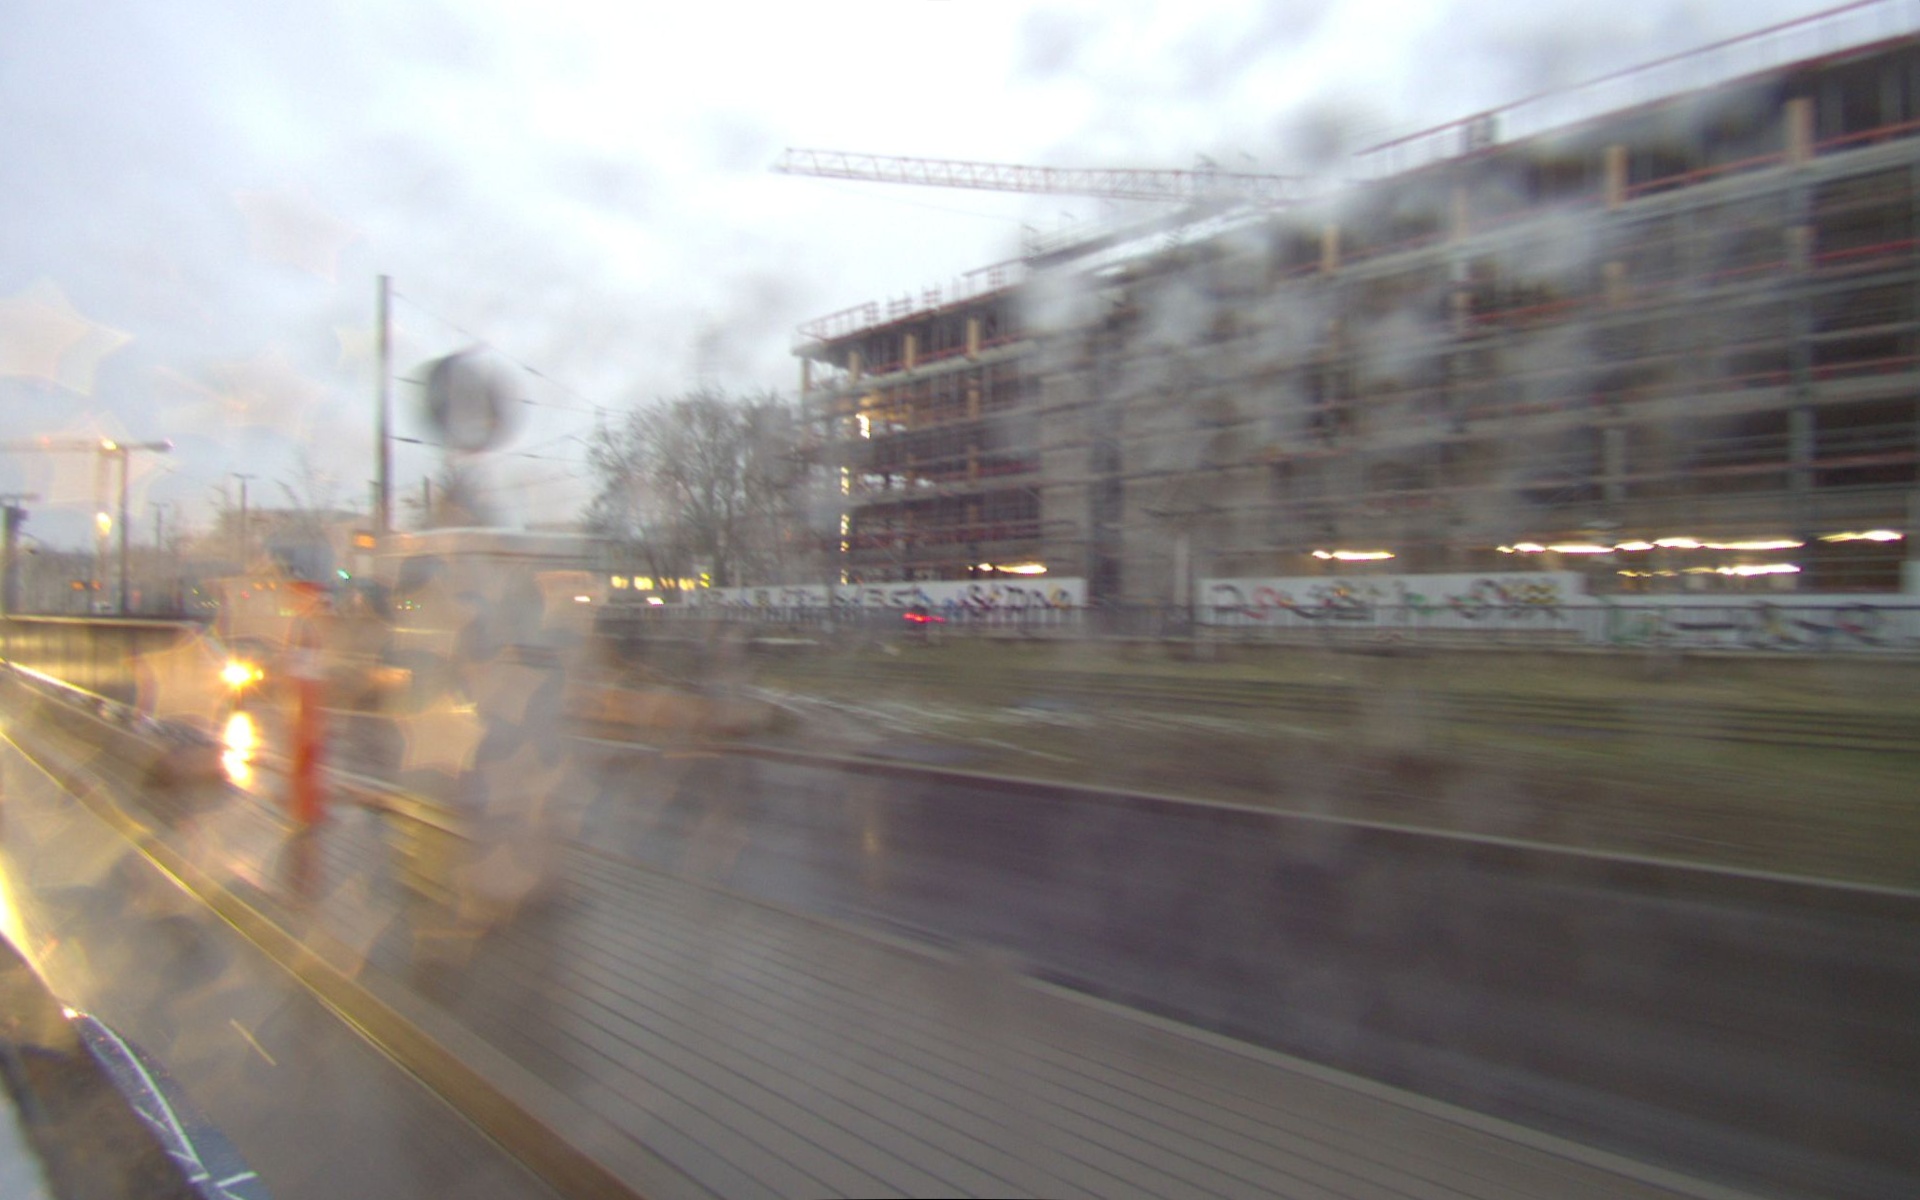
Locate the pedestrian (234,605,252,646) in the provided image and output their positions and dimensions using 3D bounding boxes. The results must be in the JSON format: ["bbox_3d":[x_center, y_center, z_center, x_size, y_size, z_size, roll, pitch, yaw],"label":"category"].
[{"bbox_3d":[-30.159,1.079,42.575,0.576,1.714,0.742,-1,-1,-37],"label":"pedestrian"}]

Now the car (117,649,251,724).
[{"bbox_3d":[-17.531,1.873,22.799,4.005,1.464,1.785,-2,-2,43],"label":"car"}]

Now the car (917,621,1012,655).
[{"bbox_3d":[0.170,1.701,45.980,4.340,1.425,1.664,-2,-1,43],"label":"car"}]
